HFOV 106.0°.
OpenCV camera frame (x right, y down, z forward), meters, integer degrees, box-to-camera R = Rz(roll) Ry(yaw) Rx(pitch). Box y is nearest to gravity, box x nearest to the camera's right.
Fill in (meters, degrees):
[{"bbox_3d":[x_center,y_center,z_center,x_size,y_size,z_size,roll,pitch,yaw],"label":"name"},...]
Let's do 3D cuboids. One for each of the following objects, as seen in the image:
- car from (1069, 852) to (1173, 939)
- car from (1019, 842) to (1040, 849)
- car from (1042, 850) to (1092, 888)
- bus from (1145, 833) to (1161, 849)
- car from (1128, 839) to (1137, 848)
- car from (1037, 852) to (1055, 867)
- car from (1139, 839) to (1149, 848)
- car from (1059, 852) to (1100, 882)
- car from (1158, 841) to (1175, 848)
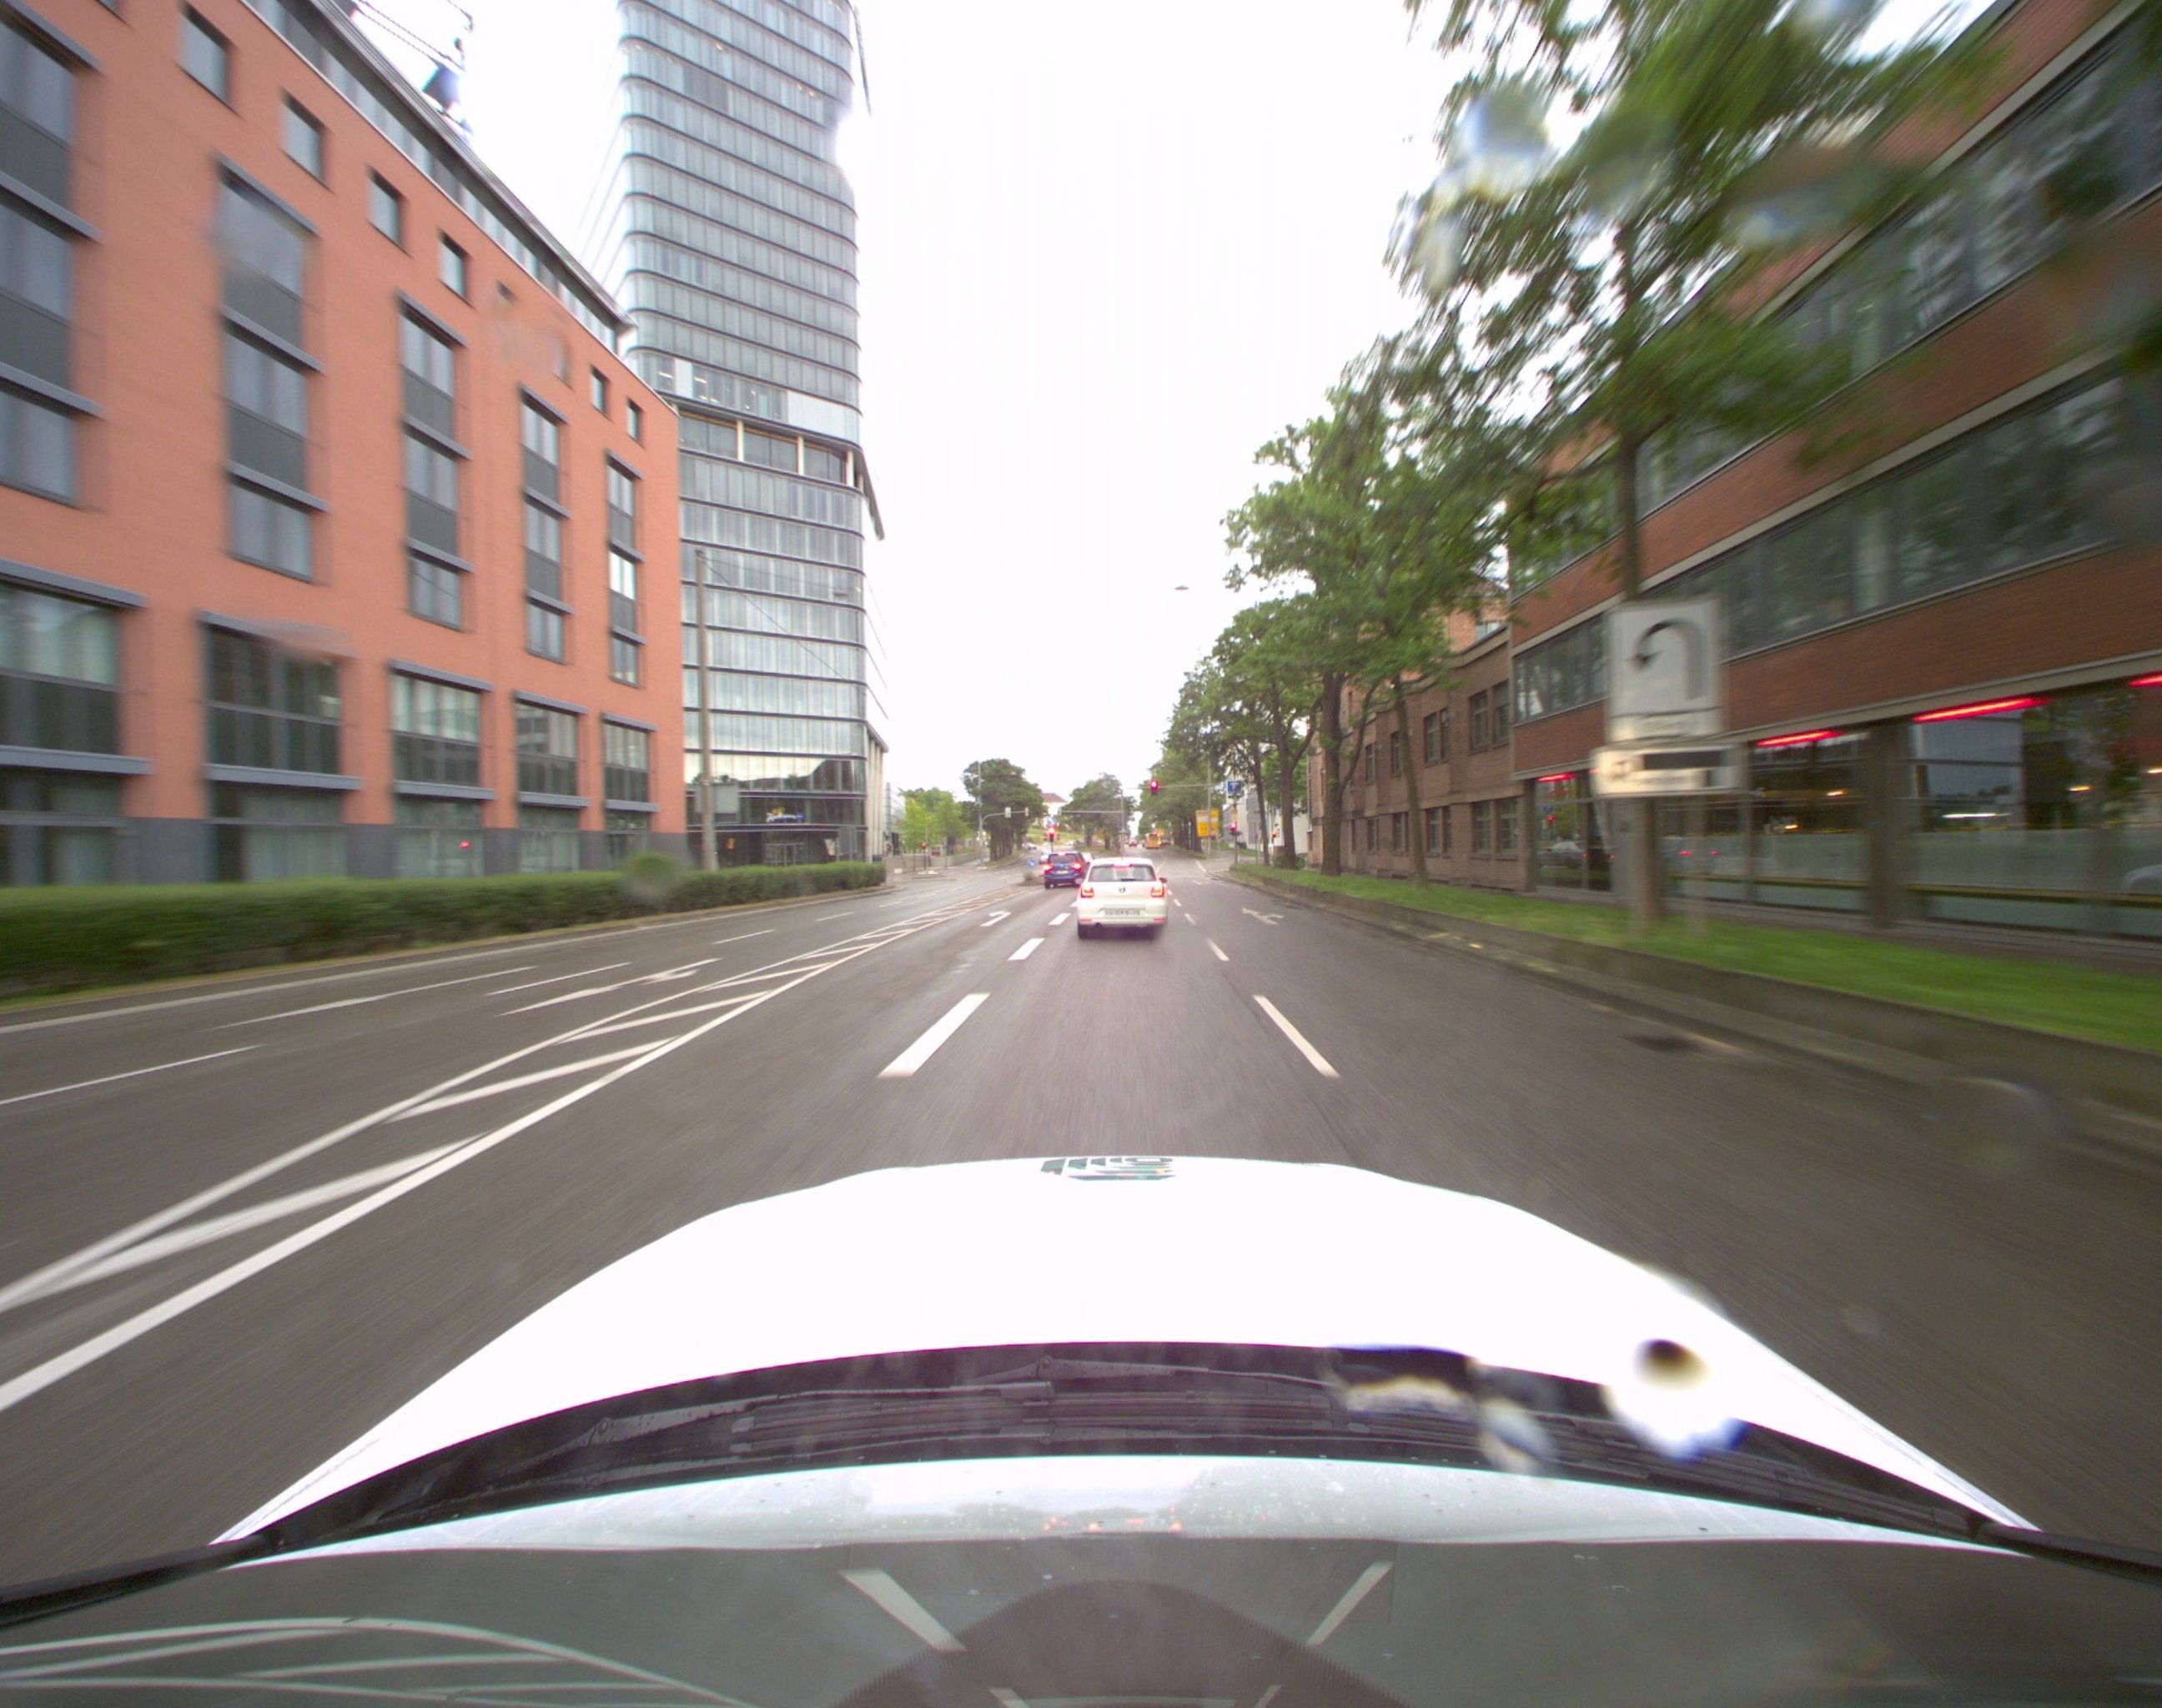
[{"bbox_3d":[0.830,0.721,16.211,1.786,1.502,4.004,-1,0,4],"label":"car"},{"bbox_3d":[-11.625,-1.854,183.441,4.596,1.411,1.832,-2,1,41],"label":"car"},{"bbox_3d":[-0.604,0.637,37.847,1.763,1.596,4.205,-2,0,6],"label":"car"},{"bbox_3d":[14.680,-2.691,166.687,2.816,3.266,10.009,-1,1,3],"label":"bus"},{"bbox_3d":[11.704,-2.296,185.524,1.985,2.013,4.003,-2,0,3],"label":"car"},{"bbox_3d":[-4.000,0.596,93.744,1.744,1.520,3.817,-3,1,0],"label":"car"},{"bbox_3d":[14.349,-2.351,185.447,1.985,2.013,4.003,-2,0,3],"label":"car"},{"bbox_3d":[-0.039,0.680,44.678,1.838,1.510,4.054,-2,0,5],"label":"car"},{"bbox_3d":[19.366,-2.201,184.649,3.849,1.515,1.680,-2,0,-42],"label":"car"}]
